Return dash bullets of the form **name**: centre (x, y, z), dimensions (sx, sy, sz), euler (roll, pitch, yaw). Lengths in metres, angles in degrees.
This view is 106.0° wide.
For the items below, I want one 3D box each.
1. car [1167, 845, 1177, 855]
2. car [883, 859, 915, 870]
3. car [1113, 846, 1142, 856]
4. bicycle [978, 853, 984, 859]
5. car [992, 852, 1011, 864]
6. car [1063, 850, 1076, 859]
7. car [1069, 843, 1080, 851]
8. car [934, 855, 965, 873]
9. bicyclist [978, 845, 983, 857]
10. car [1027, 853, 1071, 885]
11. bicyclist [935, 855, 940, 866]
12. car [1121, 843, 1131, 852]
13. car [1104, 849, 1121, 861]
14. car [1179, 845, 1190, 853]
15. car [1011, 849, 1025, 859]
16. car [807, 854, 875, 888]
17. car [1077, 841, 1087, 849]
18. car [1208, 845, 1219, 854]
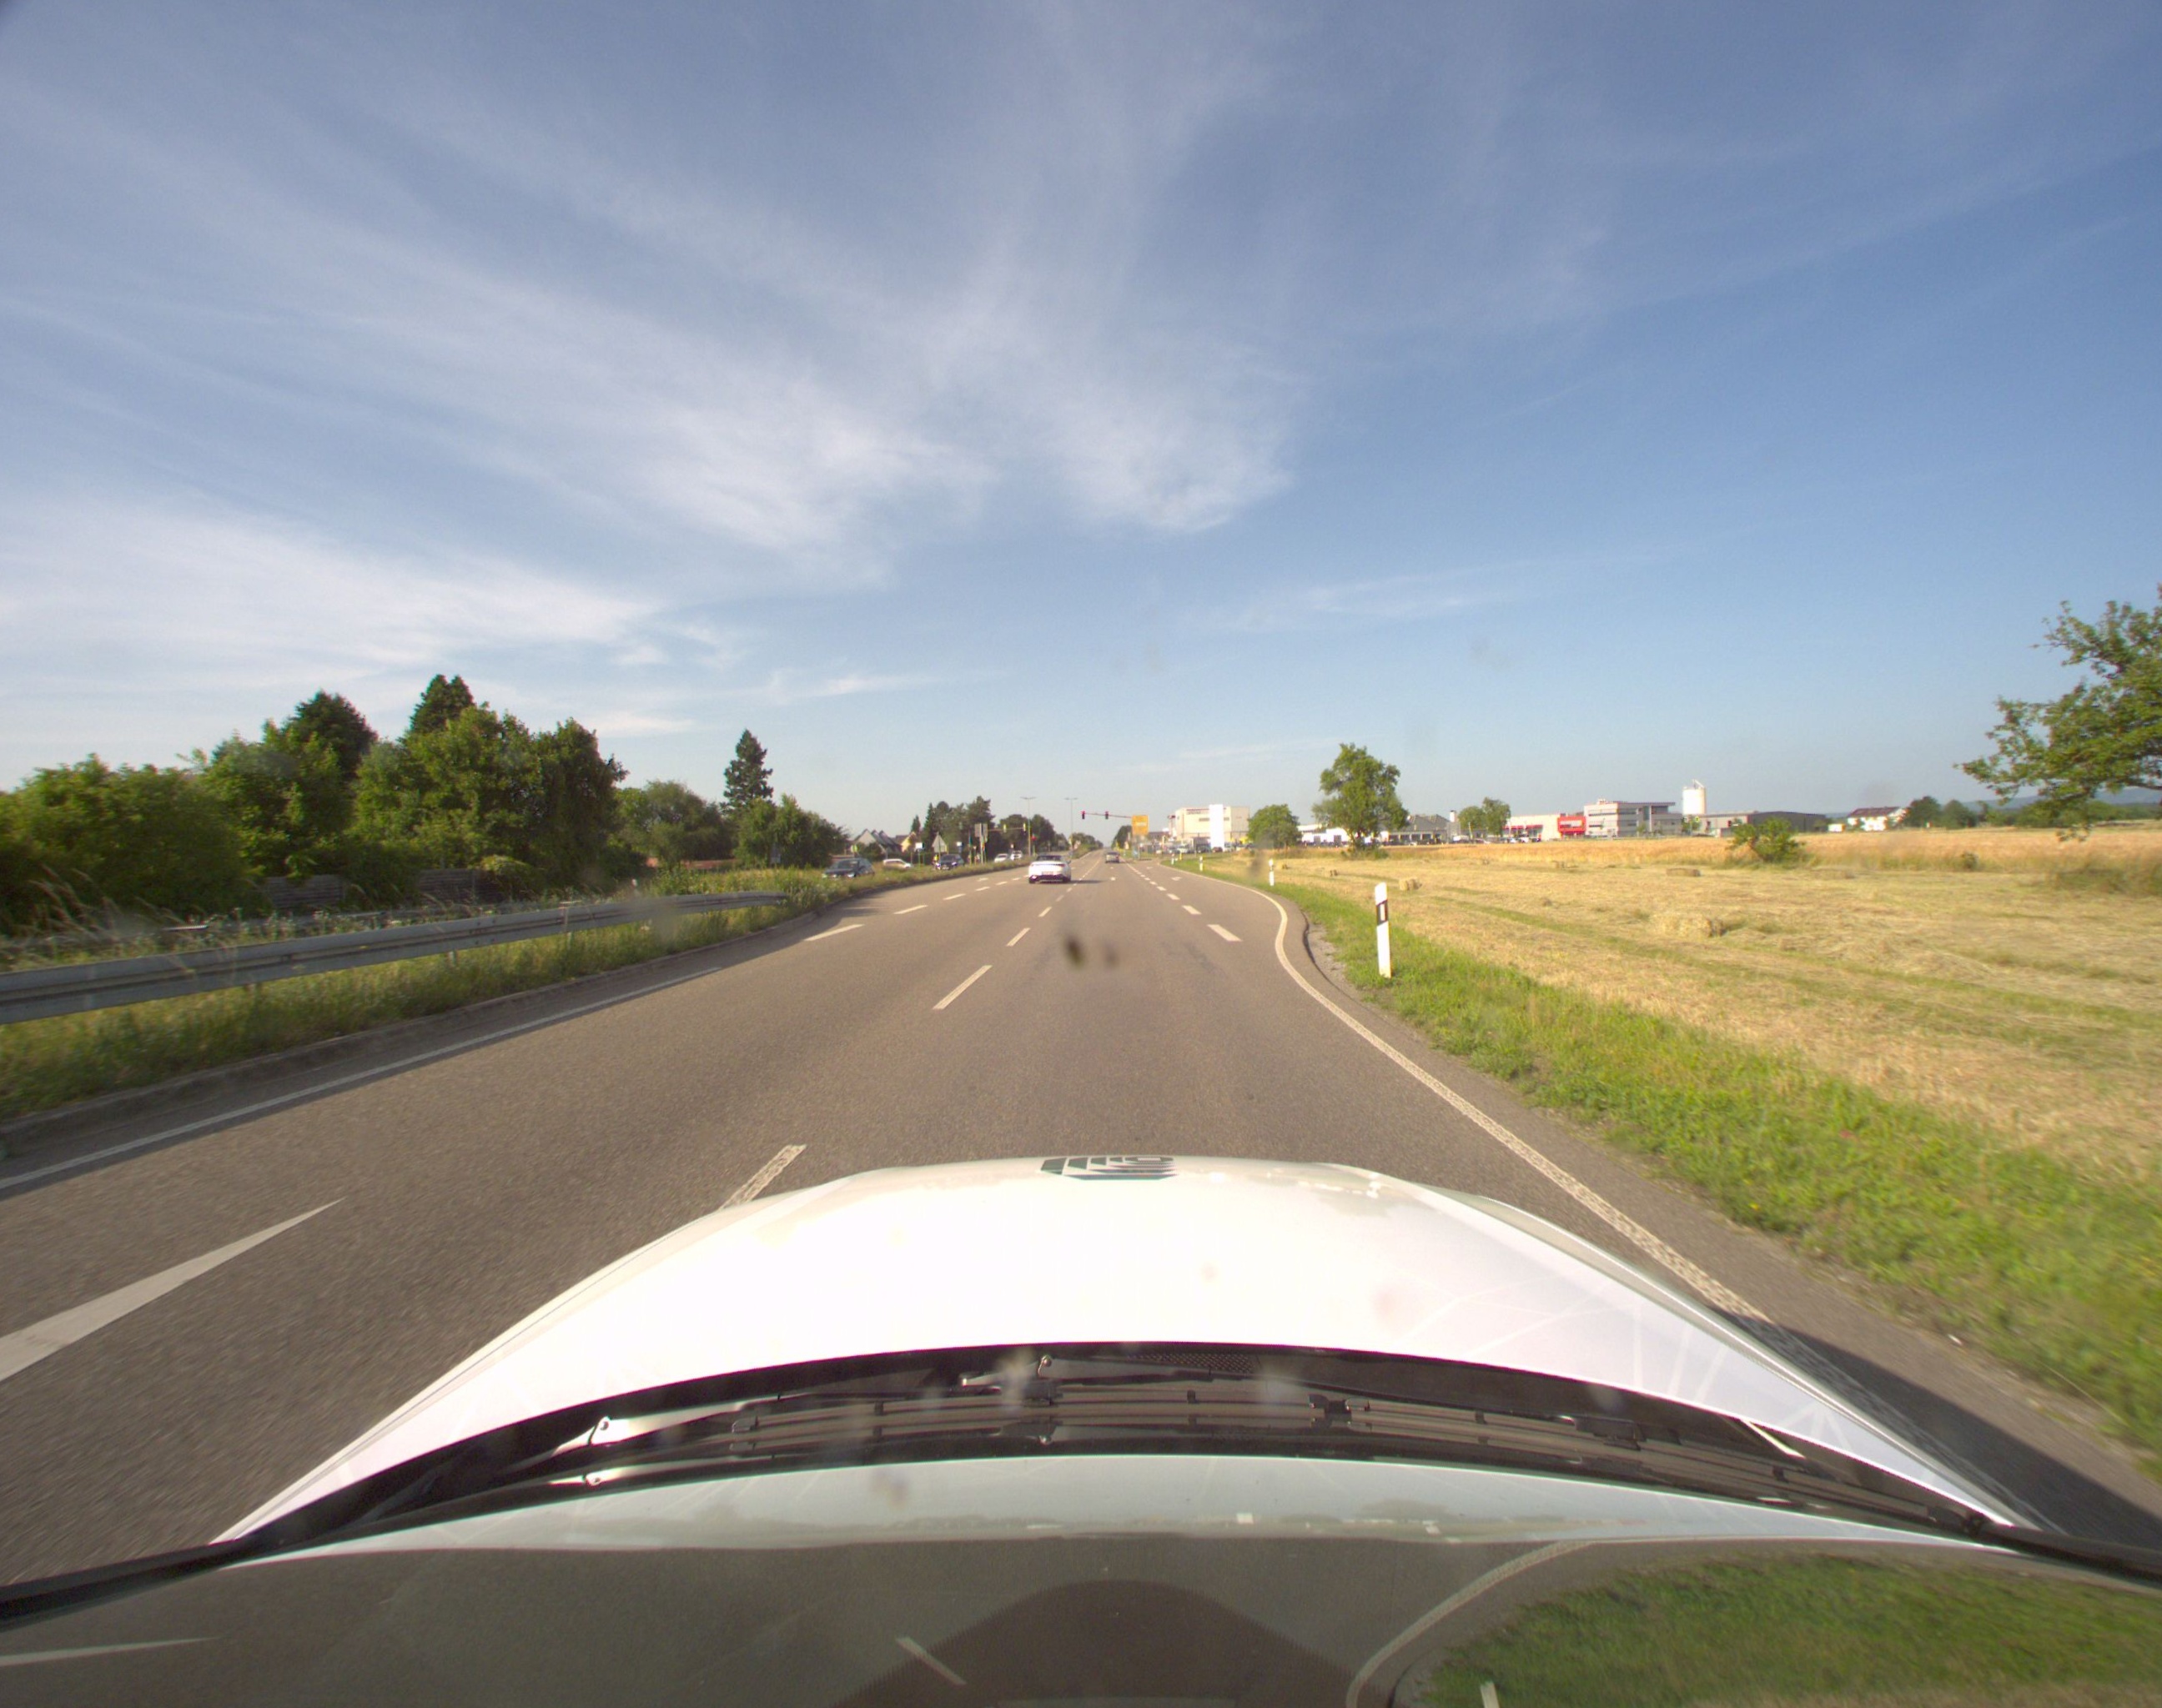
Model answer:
- **car**: centre (18.834, -0.895, 168.786), dimensions (1.985, 2.013, 4.004), euler (0, 1, 3)
- **car**: centre (-25.337, 1.460, 113.529), dimensions (4.179, 1.522, 1.996), euler (-1, 1, -7)
- **car**: centre (7.038, -0.485, 123.813), dimensions (3.998, 1.407, 1.942), euler (-1, 1, -18)
- **bicycle**: centre (-17.297, 0.404, 140.862), dimensions (0.811, 1.035, 1.947), euler (0, 1, -2)
- **car**: centre (-9.886, 0.482, 101.566), dimensions (1.986, 1.398, 4.001), euler (0, 1, 1)
- **car**: centre (-1.919, 0.026, 135.133), dimensions (1.940, 1.407, 4.003), euler (0, 1, 3)
- **car**: centre (-1.282, -1.369, 160.021), dimensions (1.940, 1.407, 4.003), euler (0, 1, 3)
- **car**: centre (-10.617, 0.792, 65.975), dimensions (1.722, 1.407, 4.003), euler (0, 1, 3)
- **bicyclist**: centre (-17.290, -0.482, 140.702), dimensions (0.788, 2.013, 0.690), euler (-1, 0, -3)
- **car**: centre (-1.495, 0.675, 39.606), dimensions (1.903, 1.422, 4.001), euler (0, 1, 1)
- **bicyclist**: centre (-18.595, 0.875, 105.500), dimensions (0.454, 1.352, 0.552), euler (-2, 0, -1)
- **car**: centre (9.632, -1.433, 174.118), dimensions (1.985, 1.757, 4.004), euler (0, 1, 3)
- **car**: centre (3.886, 0.098, 100.415), dimensions (1.986, 1.486, 4.001), euler (0, 1, 1)
- **car**: centre (21.418, -1.002, 168.778), dimensions (1.985, 1.644, 4.004), euler (0, 1, 3)
- **car**: centre (-10.975, 0.015, 142.431), dimensions (1.940, 1.800, 4.003), euler (0, 1, 3)
- **car**: centre (-11.804, 0.798, 40.363), dimensions (1.986, 1.486, 4.228), euler (0, 1, 1)
- **car**: centre (0.164, -1.923, 174.264), dimensions (1.940, 1.772, 4.003), euler (0, 1, 3)
- **car**: centre (27.586, -0.959, 169.677), dimensions (1.985, 2.013, 4.004), euler (0, 1, 3)
